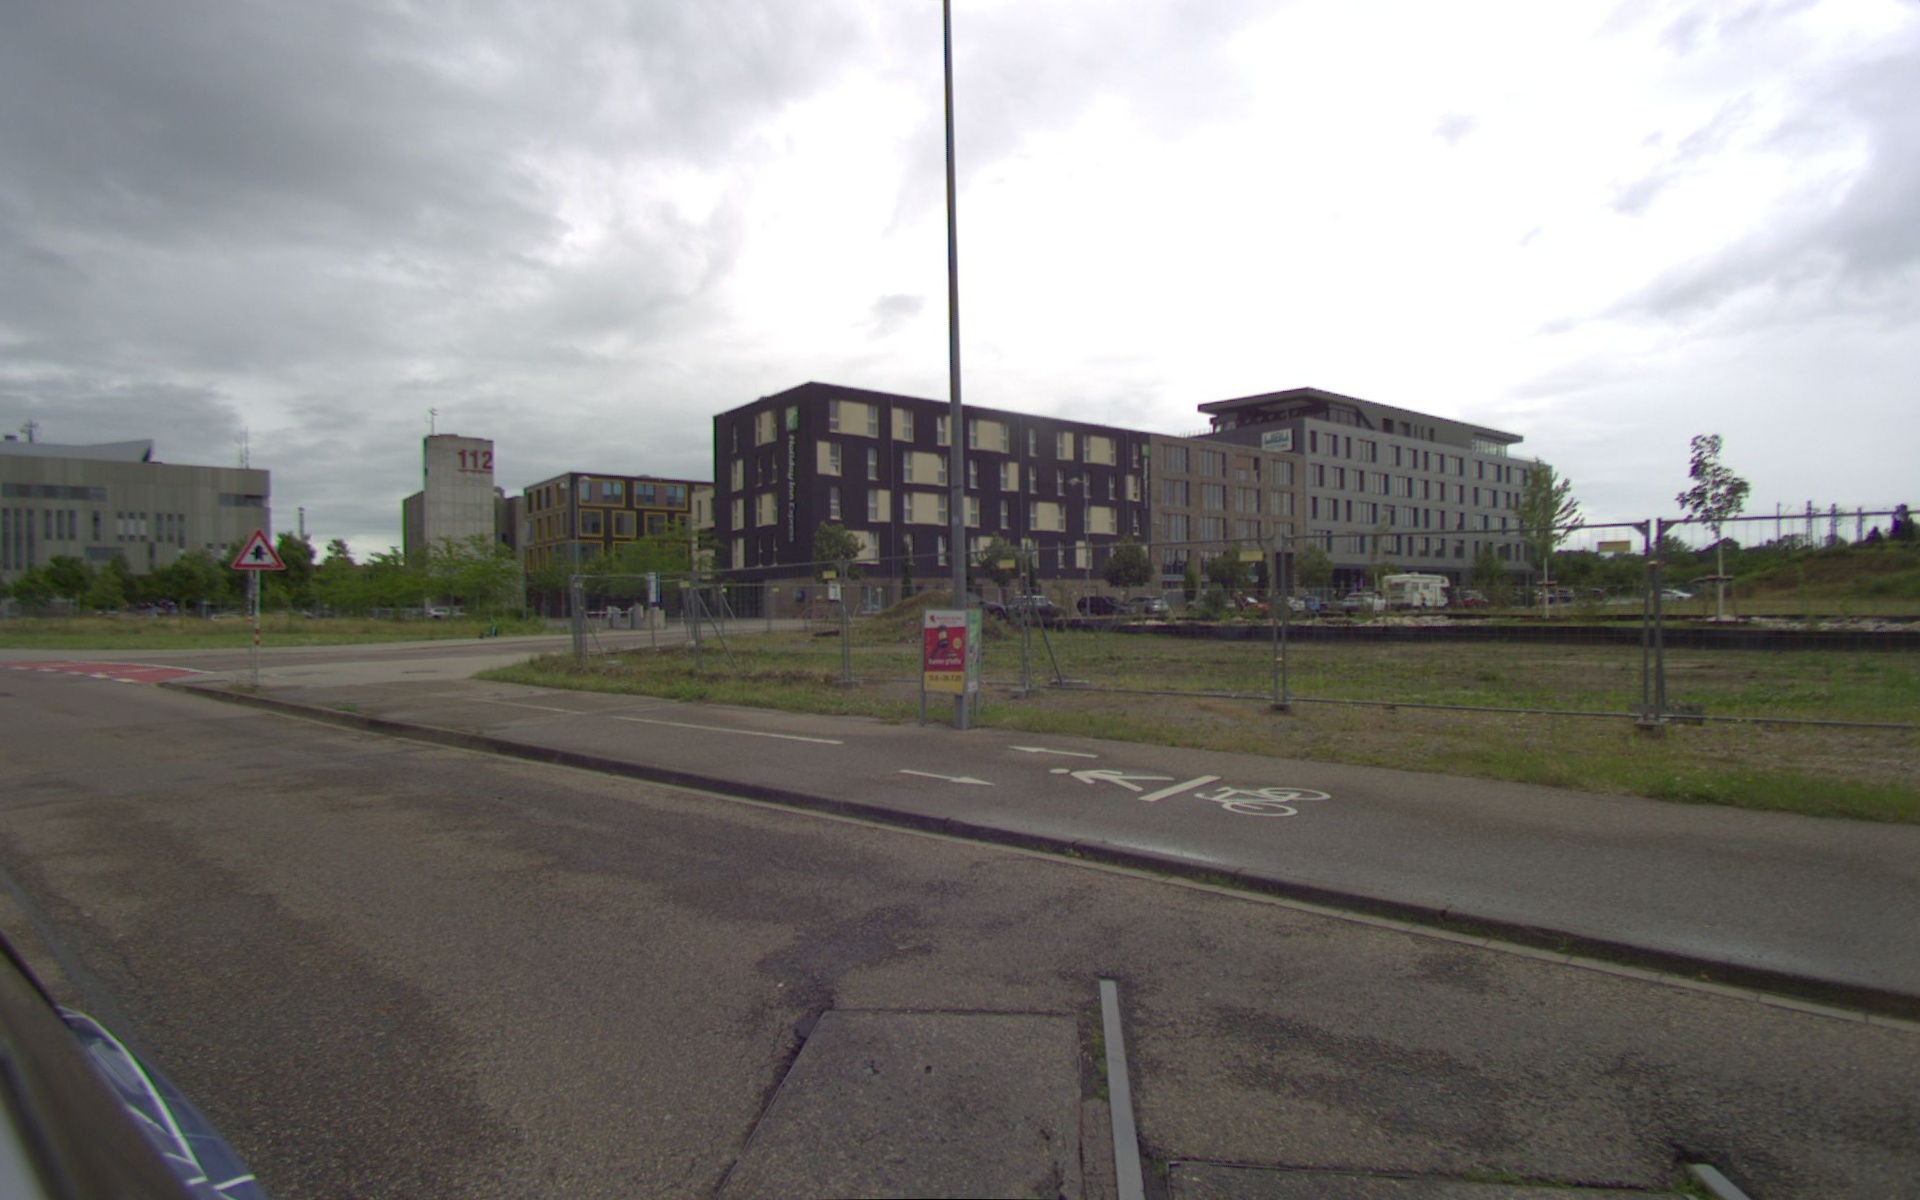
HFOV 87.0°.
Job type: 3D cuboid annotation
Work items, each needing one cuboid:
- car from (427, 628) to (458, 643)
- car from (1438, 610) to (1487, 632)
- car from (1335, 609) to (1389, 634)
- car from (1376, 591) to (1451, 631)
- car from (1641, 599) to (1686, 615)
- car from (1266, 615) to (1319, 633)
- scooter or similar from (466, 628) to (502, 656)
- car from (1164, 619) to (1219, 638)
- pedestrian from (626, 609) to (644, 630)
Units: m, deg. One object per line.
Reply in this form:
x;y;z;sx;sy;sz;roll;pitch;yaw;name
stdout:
-56.527;3.912;110.537;1.970;1.535;4.003;2;-4;-44;car
42.531;1.770;85.649;4.454;1.852;2.003;0;-2;-40;car
30.016;1.625;75.477;3.936;1.760;2.004;0;-2;-39;car
36.192;0.842;80.635;6.471;2.979;2.719;0;-2;-39;car
79.961;0.771;115.032;4.000;1.630;1.972;-3;-2;43;car
28.933;2.115;88.153;1.718;1.469;4.005;0;-2;-42;car
-21.301;1.884;45.306;0.568;1.177;1.455;-1;0;25;scooter or similar
18.700;2.321;81.835;1.718;1.469;4.005;0;-2;-42;car
-25.710;1.547;80.051;0.873;1.583;0.943;-3;-2;34;pedestrian
